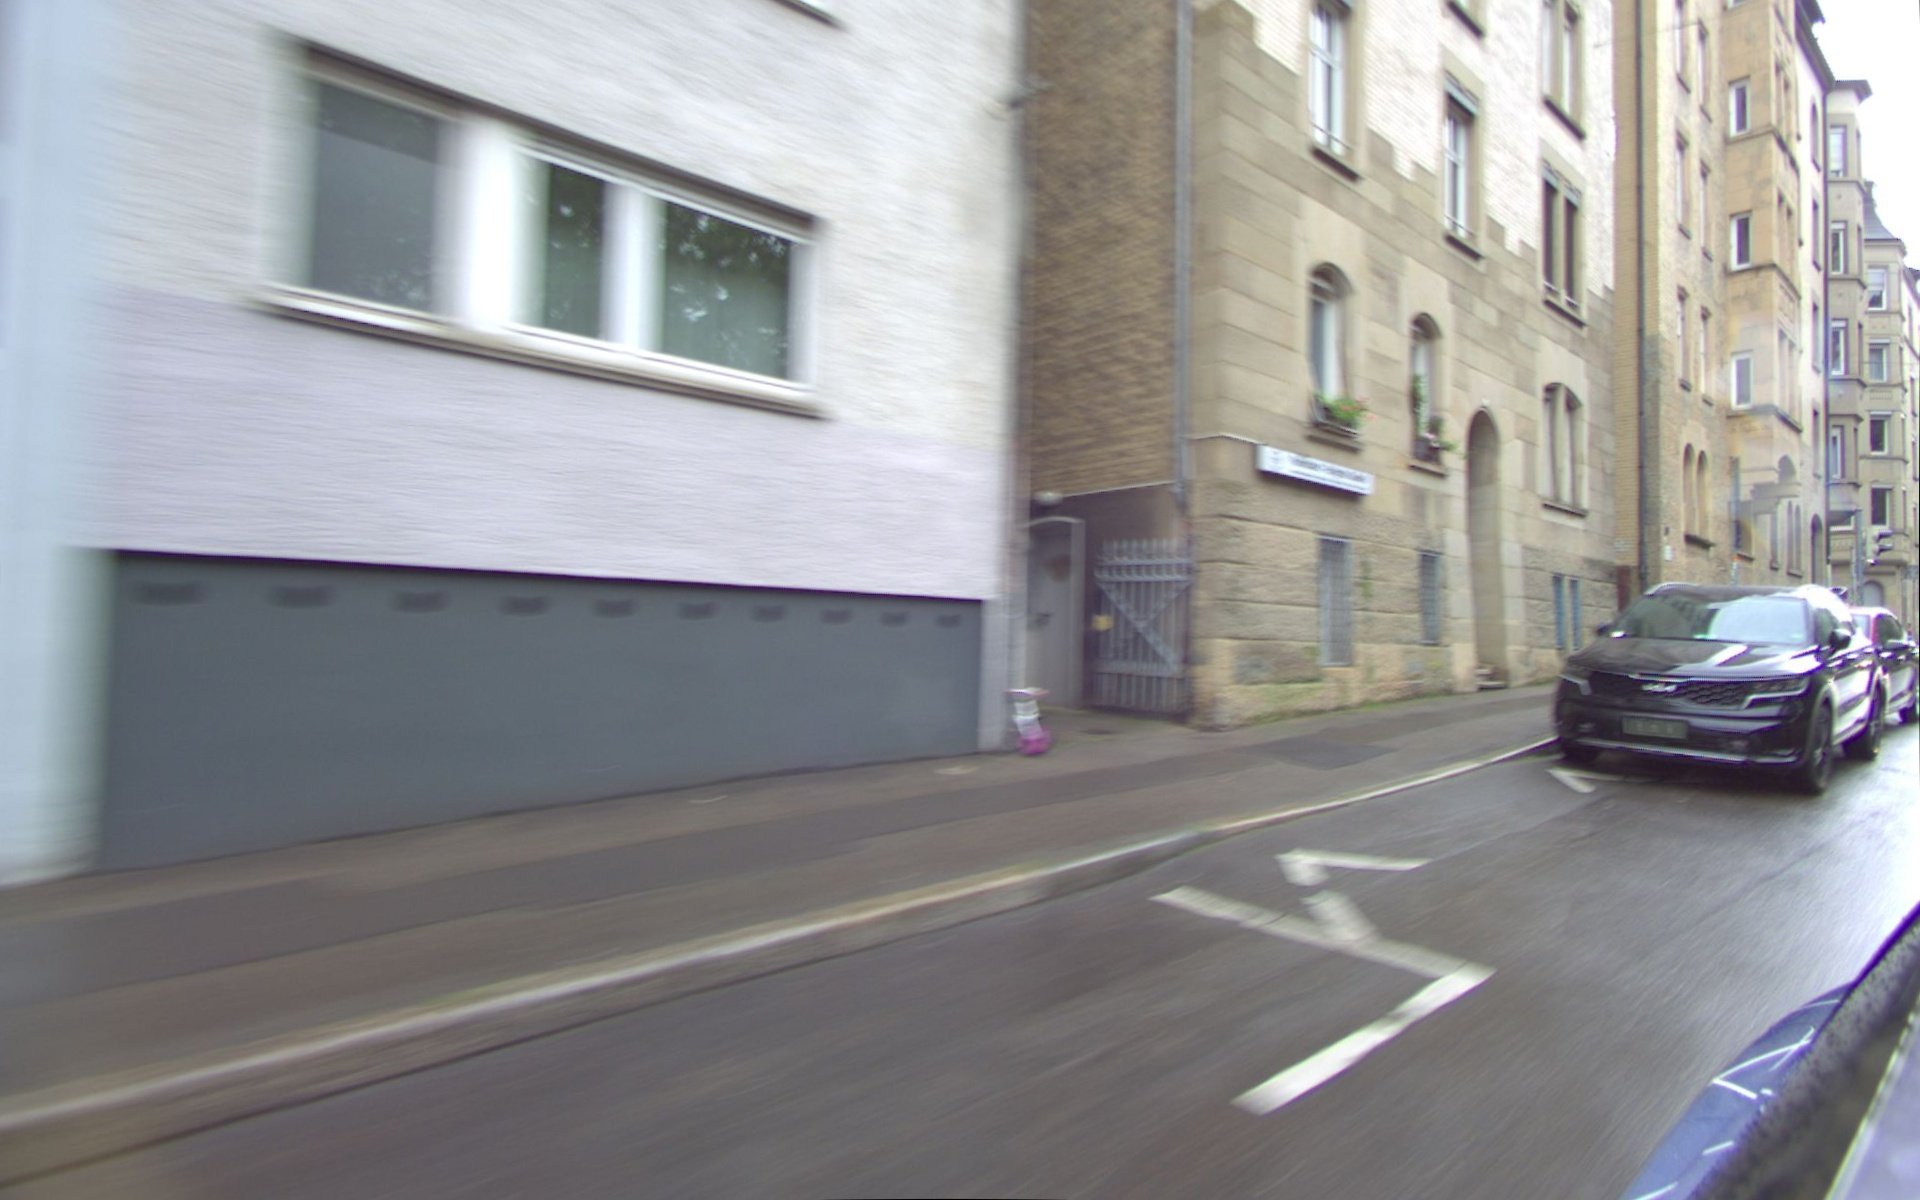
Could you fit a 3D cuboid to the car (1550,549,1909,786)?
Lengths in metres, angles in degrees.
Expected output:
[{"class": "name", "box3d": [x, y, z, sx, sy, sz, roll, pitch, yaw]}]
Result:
[{"class": "car", "box3d": [7.355, 0.531, 9.503, 4.419, 1.730, 1.769, 1, -1, -40]}]

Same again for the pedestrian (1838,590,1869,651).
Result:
[{"class": "pedestrian", "box3d": [26.236, 0.603, 29.704, 0.564, 1.774, 0.579, 4, -2, -40]}]

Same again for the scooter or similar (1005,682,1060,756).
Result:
[{"class": "scooter or similar", "box3d": [0.593, 0.976, 8.439, 0.253, 0.513, 0.862, 0, 0, -10]}]

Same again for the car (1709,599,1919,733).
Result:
[{"class": "car", "box3d": [11.202, 0.736, 12.990, 3.544, 1.471, 1.665, 0, -1, -38]}]

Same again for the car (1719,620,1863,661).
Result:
[{"class": "car", "box3d": [35.699, 1.715, 43.577, 1.746, 1.519, 4.507, 5, -2, -38]}]
